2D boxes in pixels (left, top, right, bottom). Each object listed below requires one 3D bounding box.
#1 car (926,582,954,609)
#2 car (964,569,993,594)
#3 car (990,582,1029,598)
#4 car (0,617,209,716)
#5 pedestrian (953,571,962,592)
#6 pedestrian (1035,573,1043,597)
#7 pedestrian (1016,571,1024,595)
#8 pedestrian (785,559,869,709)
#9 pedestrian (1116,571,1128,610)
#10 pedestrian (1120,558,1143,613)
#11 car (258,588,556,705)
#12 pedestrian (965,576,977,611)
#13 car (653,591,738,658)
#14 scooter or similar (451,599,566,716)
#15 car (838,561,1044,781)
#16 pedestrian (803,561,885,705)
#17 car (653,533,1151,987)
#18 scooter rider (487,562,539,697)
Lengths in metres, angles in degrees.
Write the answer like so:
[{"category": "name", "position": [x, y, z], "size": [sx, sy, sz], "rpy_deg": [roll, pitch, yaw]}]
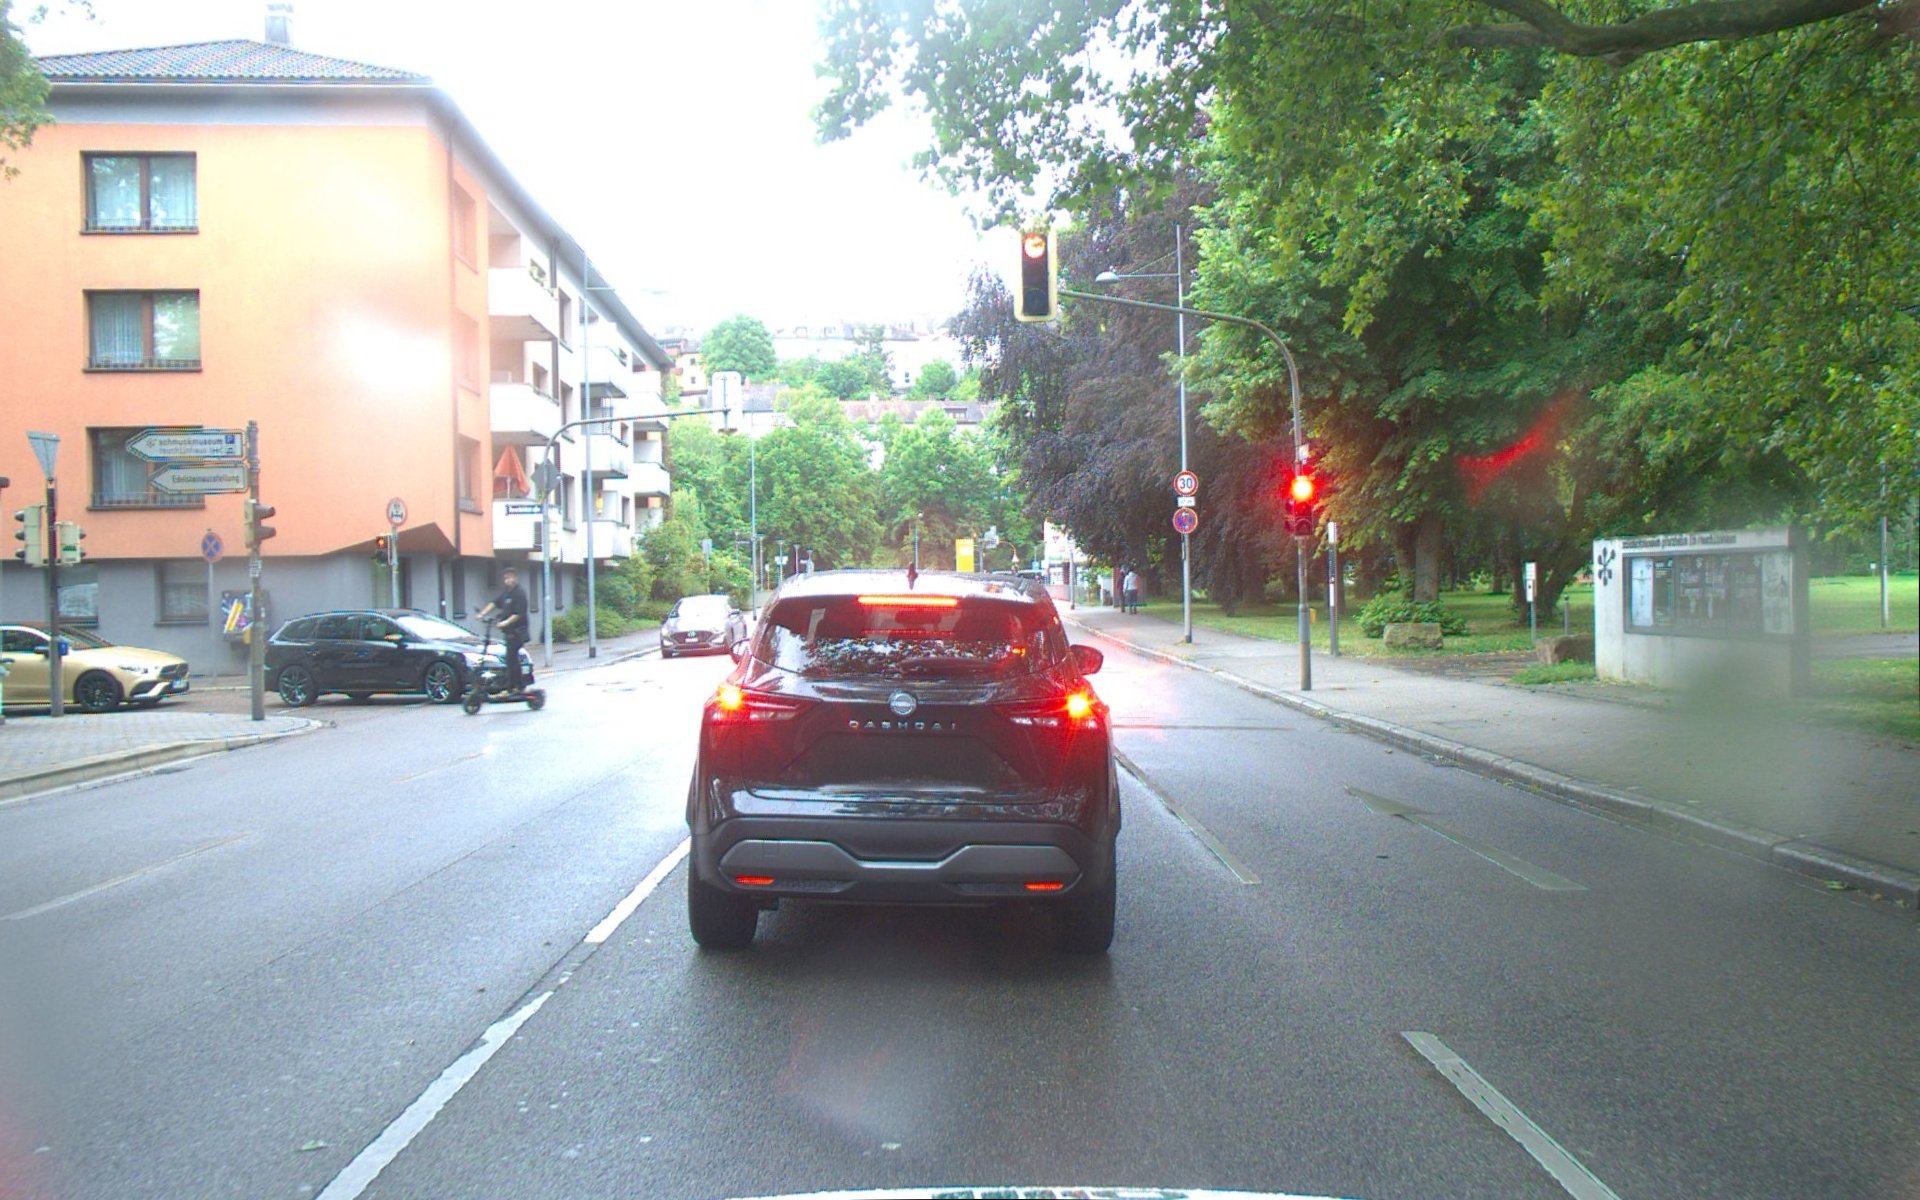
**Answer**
[{"category": "car", "position": [-1.217, -0.275, 99.763], "size": [1.601, 1.559, 3.967], "rpy_deg": [-2, 1, -1]}, {"category": "car", "position": [1.440, -1.391, 126.524], "size": [1.952, 1.765, 4.002], "rpy_deg": [1, 0, 4]}, {"category": "car", "position": [5.378, -1.092, 178.138], "size": [3.887, 1.559, 1.634], "rpy_deg": [-2, 0, -14]}, {"category": "car", "position": [-14.920, 1.092, 26.894], "size": [4.540, 1.428, 1.832], "rpy_deg": [-2, 0, 1]}, {"category": "pedestrian", "position": [-0.208, -1.512, 136.354], "size": [0.498, 1.702, 0.658], "rpy_deg": [-2, 0, 27]}, {"category": "pedestrian", "position": [6.104, -1.166, 128.292], "size": [0.498, 1.833, 0.619], "rpy_deg": [-2, 0, -2]}, {"category": "pedestrian", "position": [4.631, -1.302, 128.242], "size": [0.498, 1.833, 0.619], "rpy_deg": [-2, 0, -1]}, {"category": "pedestrian", "position": [-1.738, 0.437, 21.556], "size": [1.017, 1.909, 0.656], "rpy_deg": [1, 0, -12]}, {"category": "pedestrian", "position": [6.557, -0.383, 67.034], "size": [0.382, 1.528, 0.559], "rpy_deg": [-2, 0, -1]}, {"category": "pedestrian", "position": [6.470, -0.557, 62.494], "size": [0.710, 2.049, 0.851], "rpy_deg": [-2, 0, -1]}, {"category": "car", "position": [-8.648, 0.717, 25.983], "size": [4.036, 1.654, 1.853], "rpy_deg": [-2, 0, 15]}, {"category": "pedestrian", "position": [0.580, -0.343, 86.871], "size": [0.605, 1.833, 0.510], "rpy_deg": [-2, 0, -1]}, {"category": "car", "position": [-6.655, 0.578, 41.933], "size": [1.760, 1.560, 3.864], "rpy_deg": [-2, 0, -4]}, {"category": "scooter or similar", "position": [-6.100, 0.764, 22.430], "size": [1.369, 1.471, 0.815], "rpy_deg": [-3, 1, -12]}, {"category": "car", "position": [-0.185, 0.578, 15.657], "size": [1.664, 1.776, 3.640], "rpy_deg": [-2, 0, -1]}, {"category": "pedestrian", "position": [-1.573, 0.441, 22.311], "size": [1.017, 1.909, 0.656], "rpy_deg": [1, 0, -12]}, {"category": "car", "position": [-0.243, 0.592, 8.258], "size": [1.874, 1.709, 3.999], "rpy_deg": [0, 0, -1]}, {"category": "scooter rider", "position": [-6.038, 0.396, 22.353], "size": [0.632, 1.797, 0.733], "rpy_deg": [-1, -1, -13]}]
